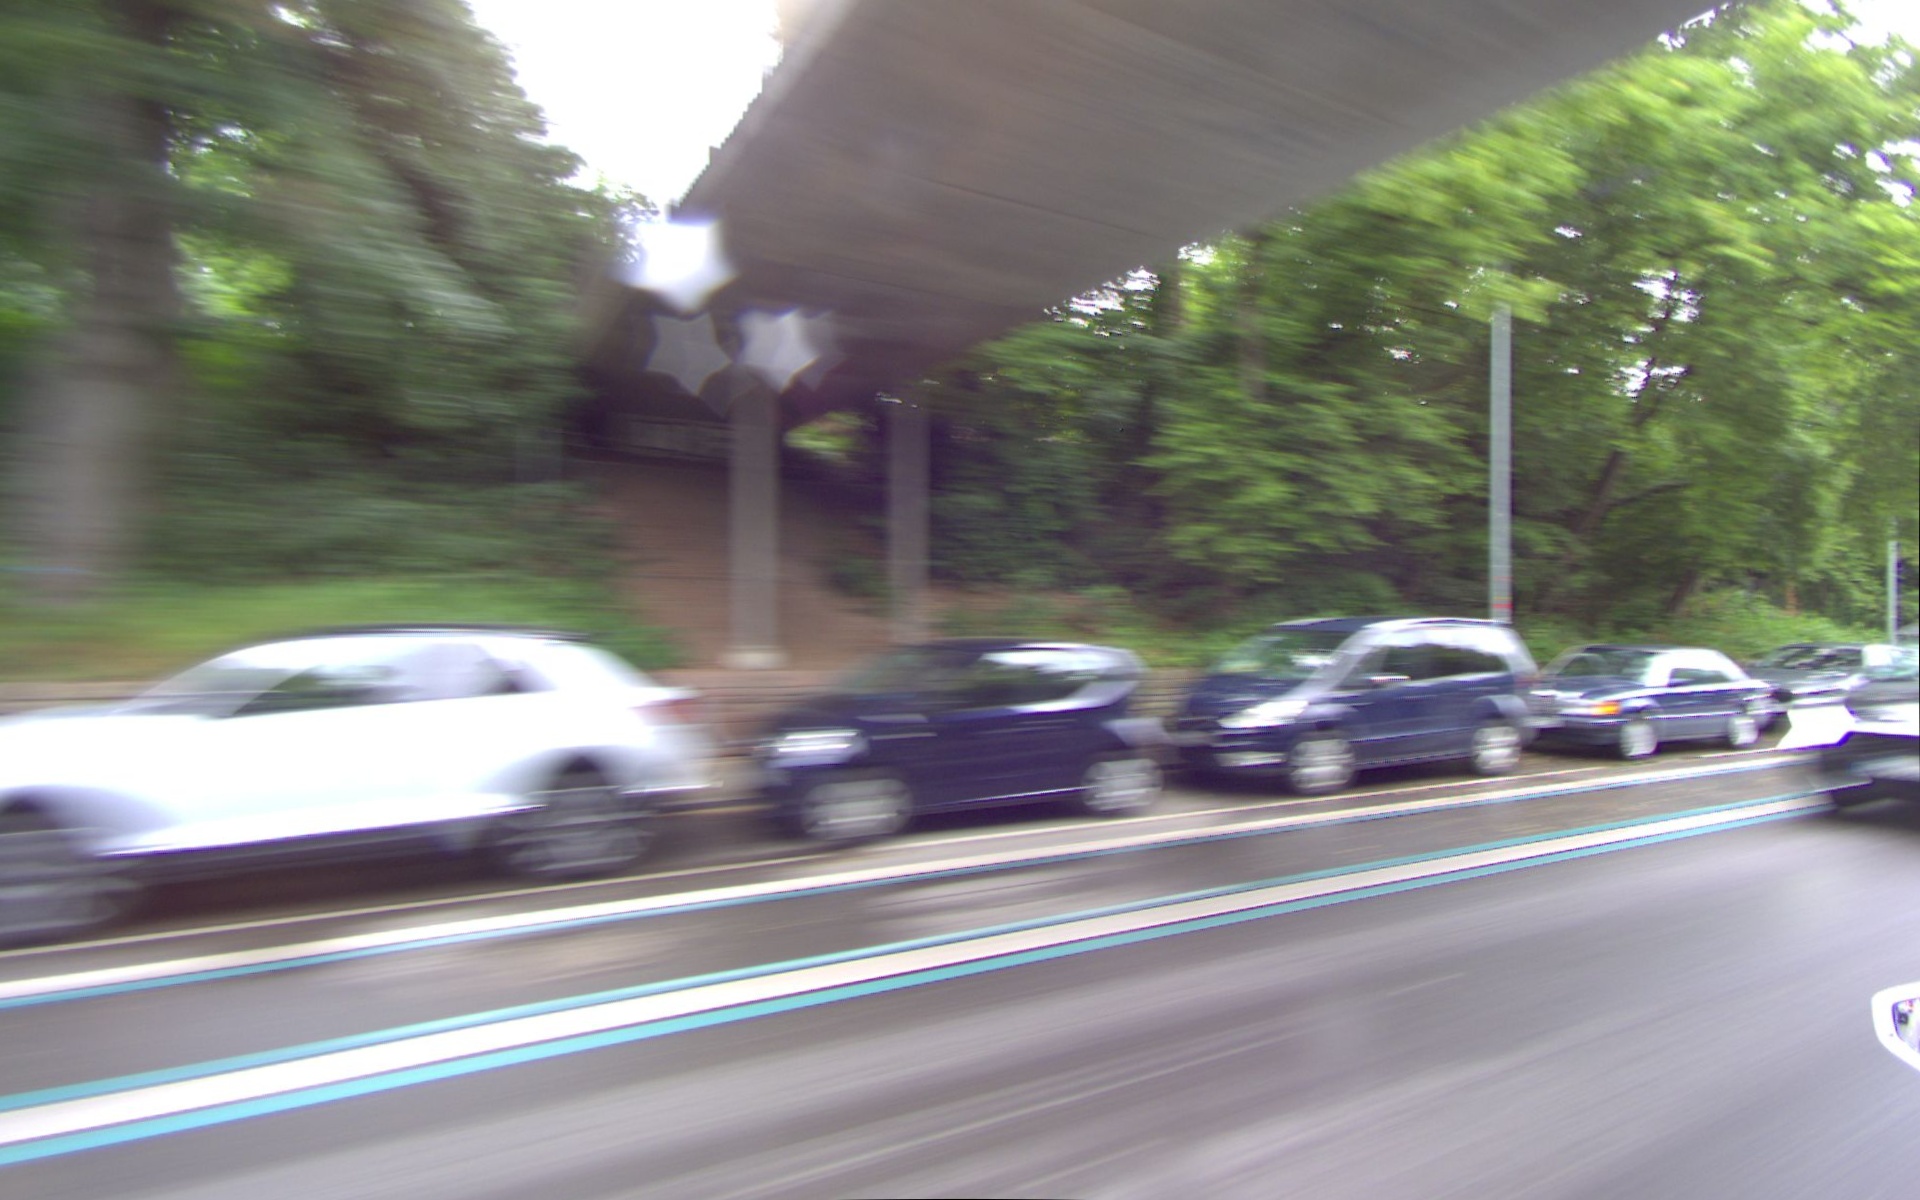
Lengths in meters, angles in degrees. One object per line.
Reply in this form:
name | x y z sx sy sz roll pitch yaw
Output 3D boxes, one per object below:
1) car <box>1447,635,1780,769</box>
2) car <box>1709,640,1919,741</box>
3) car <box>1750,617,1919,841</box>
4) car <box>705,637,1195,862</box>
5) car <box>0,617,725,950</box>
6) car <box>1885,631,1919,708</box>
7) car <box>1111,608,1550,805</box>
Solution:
car | 9.139 1.278 13.947 4.841 1.492 1.973 1 0 -31
car | 14.634 1.435 16.928 4.246 1.442 1.775 1 -1 -31
car | 8.874 0.990 8.534 4.269 1.649 1.957 1 -2 -30
car | -0.027 1.060 8.359 3.796 1.458 1.603 1 -1 -29
car | -3.747 0.898 6.196 4.184 1.567 1.679 1 -1 -31
car | 20.944 1.401 20.494 4.705 1.482 1.945 1 0 -33
car | 4.166 1.000 11.102 4.780 1.765 1.981 1 -1 -30
